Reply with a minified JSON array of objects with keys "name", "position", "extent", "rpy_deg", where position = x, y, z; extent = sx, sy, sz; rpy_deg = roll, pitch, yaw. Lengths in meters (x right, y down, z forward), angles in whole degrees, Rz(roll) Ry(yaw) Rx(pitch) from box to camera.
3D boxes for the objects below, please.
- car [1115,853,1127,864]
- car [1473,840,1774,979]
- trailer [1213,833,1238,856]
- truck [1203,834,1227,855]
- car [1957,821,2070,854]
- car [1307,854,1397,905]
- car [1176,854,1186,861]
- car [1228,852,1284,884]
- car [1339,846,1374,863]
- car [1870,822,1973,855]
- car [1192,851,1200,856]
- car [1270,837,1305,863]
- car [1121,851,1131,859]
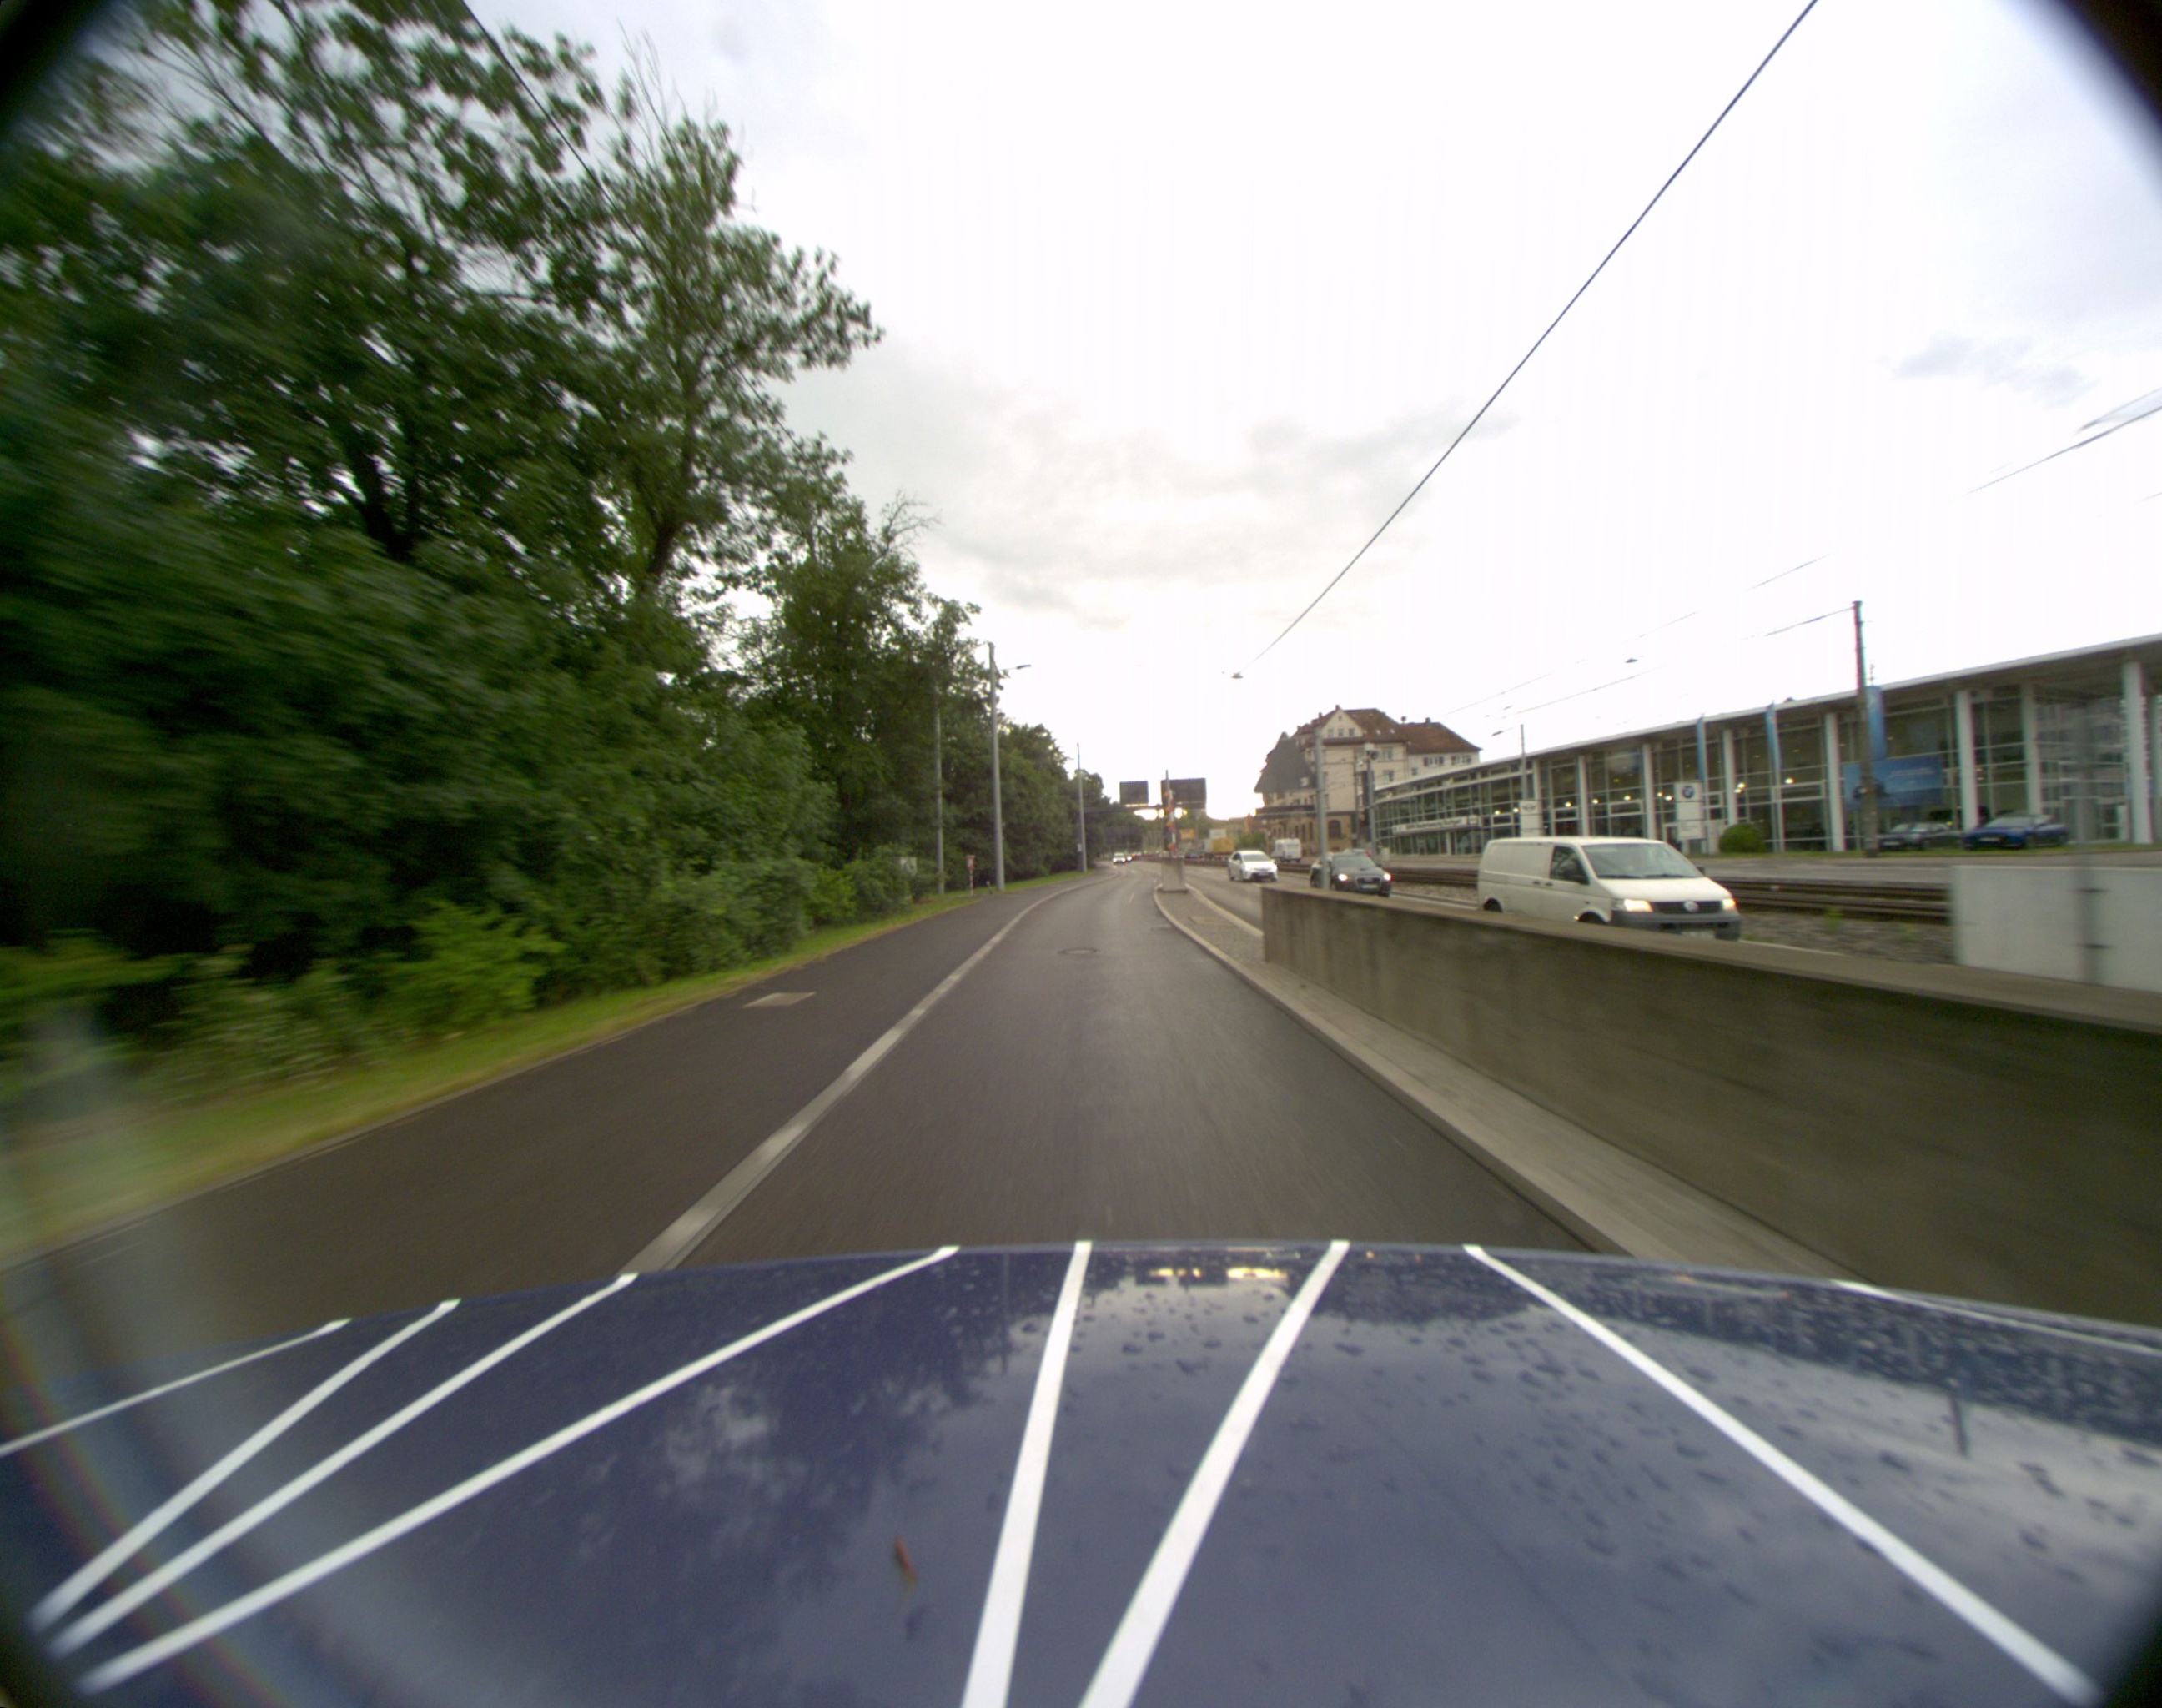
[{"name":"car","position":[6.337,0.714,120.781],"extent":[1.710,1.585,4.000],"rpy_deg":[-2,0,1]},{"name":"car","position":[8.997,0.794,13.262],"extent":[1.914,1.947,4.718],"rpy_deg":[-2,0,1]},{"name":"trailer","position":[26.312,-1.674,138.620],"extent":[2.690,4.028,9.082],"rpy_deg":[-2,0,0]},{"name":"truck","position":[26.131,-1.819,148.278],"extent":[2.690,4.028,10.141],"rpy_deg":[-2,0,0]},{"name":"car","position":[38.851,-0.687,31.652],"extent":[4.003,1.228,1.757],"rpy_deg":[-2,1,-20]},{"name":"car","position":[9.197,0.824,26.103],"extent":[1.708,1.564,3.896],"rpy_deg":[-2,0,1]},{"name":"car","position":[26.646,0.892,202.257],"extent":[1.998,1.863,5.192],"rpy_deg":[-2,0,0]},{"name":"car","position":[9.191,0.680,40.185],"extent":[1.982,1.564,4.319],"rpy_deg":[-2,0,1]},{"name":"car","position":[25.930,0.019,71.613],"extent":[1.746,1.507,4.339],"rpy_deg":[-2,0,0]},{"name":"car","position":[38.178,-0.717,34.512],"extent":[4.003,1.227,1.701],"rpy_deg":[-3,-2,-20]},{"name":"car","position":[29.553,-0.128,195.459],"extent":[1.610,1.425,4.331],"rpy_deg":[-2,0,1]},{"name":"car","position":[22.701,-0.432,83.776],"extent":[2.056,2.583,6.164],"rpy_deg":[-3,0,0]},{"name":"car","position":[8.738,0.222,146.988],"extent":[1.710,1.521,4.000],"rpy_deg":[-2,0,1]}]
